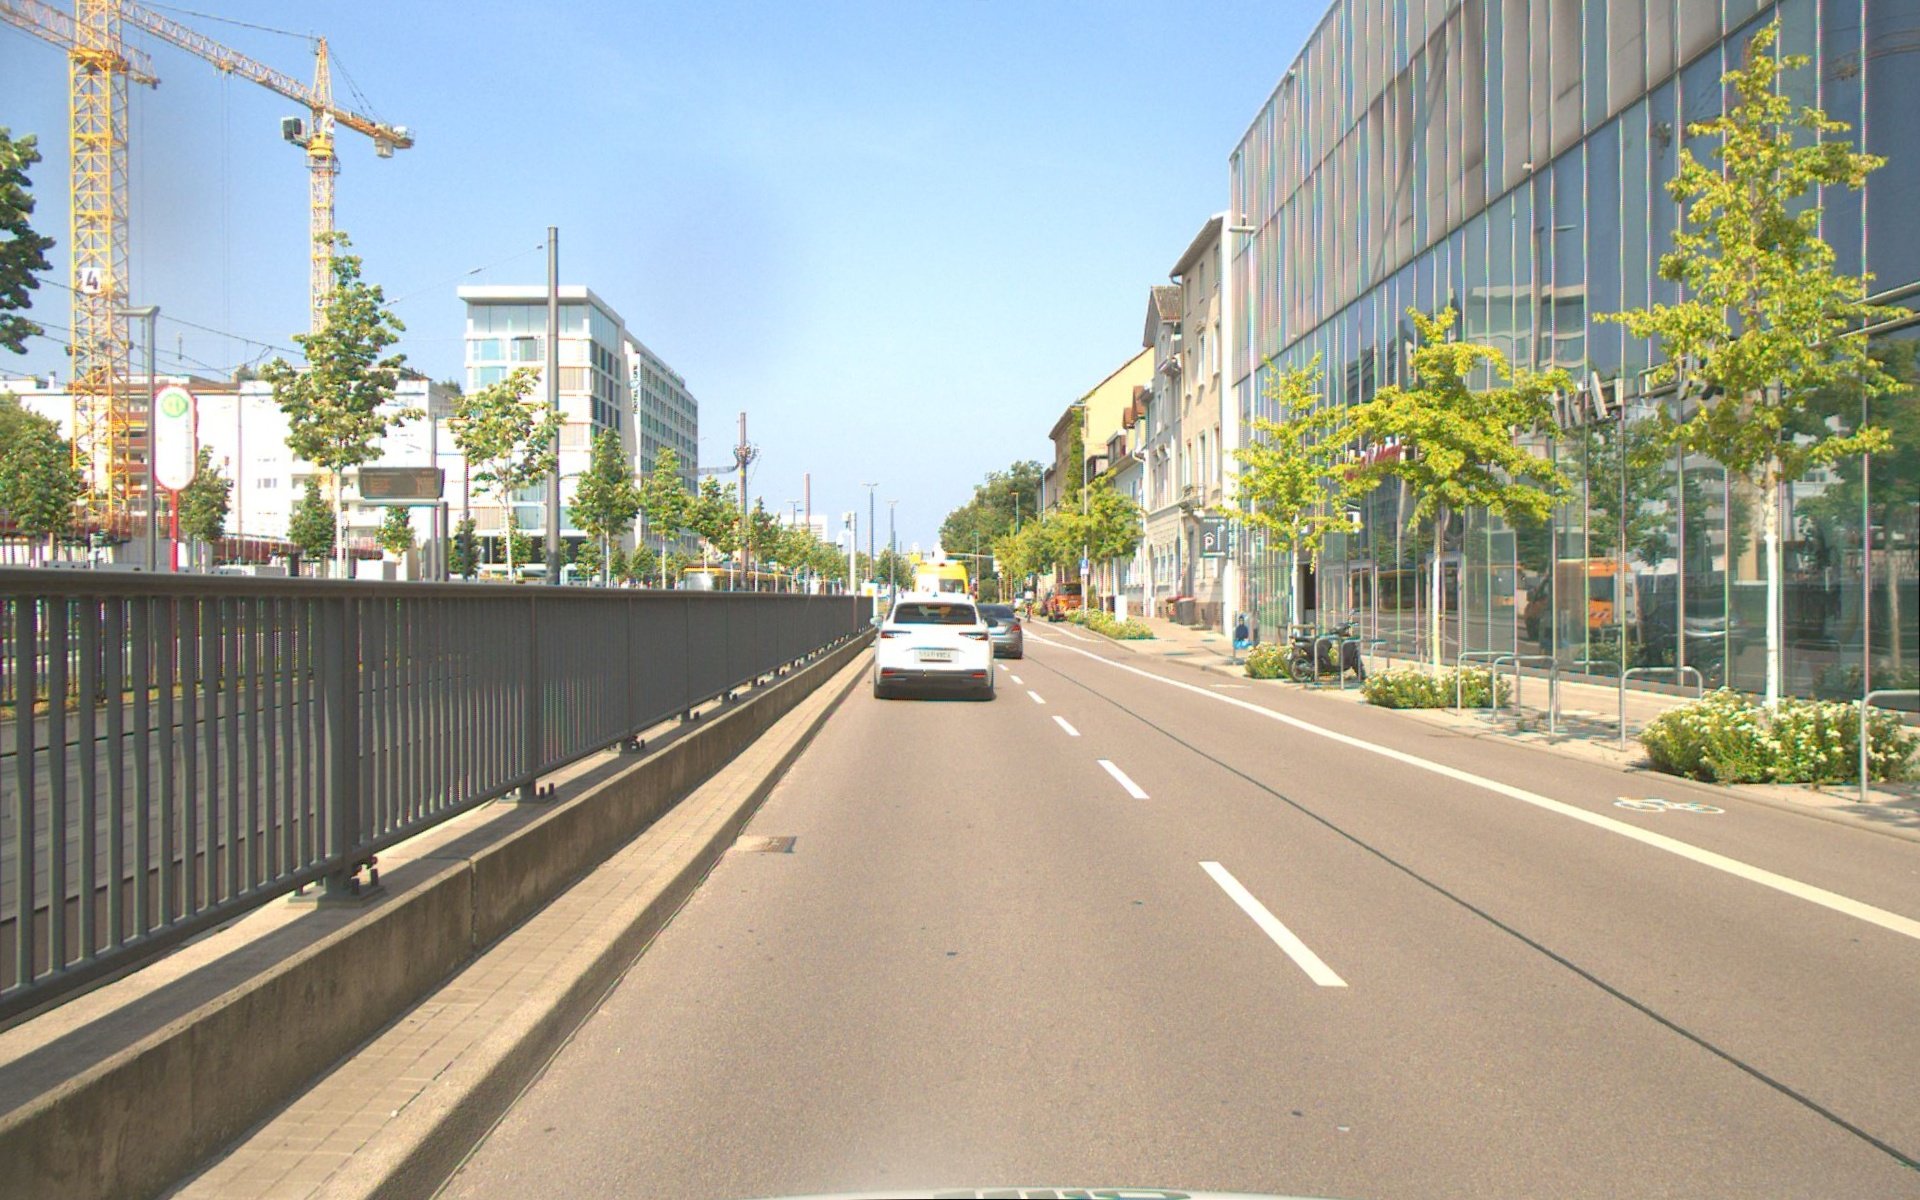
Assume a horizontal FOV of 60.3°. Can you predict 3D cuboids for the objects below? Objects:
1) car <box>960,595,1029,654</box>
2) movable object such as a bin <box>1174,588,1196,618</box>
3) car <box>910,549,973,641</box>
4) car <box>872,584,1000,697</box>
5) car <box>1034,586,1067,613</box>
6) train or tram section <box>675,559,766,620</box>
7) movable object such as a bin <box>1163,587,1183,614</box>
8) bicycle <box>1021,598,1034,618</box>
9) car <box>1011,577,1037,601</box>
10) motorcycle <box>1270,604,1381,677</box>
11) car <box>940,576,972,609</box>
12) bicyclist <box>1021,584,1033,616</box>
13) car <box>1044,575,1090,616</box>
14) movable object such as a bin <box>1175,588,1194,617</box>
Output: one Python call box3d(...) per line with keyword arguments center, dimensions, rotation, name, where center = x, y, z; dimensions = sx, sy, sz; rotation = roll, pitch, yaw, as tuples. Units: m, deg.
box3d(center=(0.886, 0.629, 44.872), dimensions=(1.724, 1.461, 4.115), rotation=(1, 1, -1), name="car")
box3d(center=(9.339, 0.123, 68.582), dimensions=(0.765, 1.192, 0.808), rotation=(0, 2, -2), name="movable object such as a bin")
box3d(center=(-0.611, -0.250, 55.618), dimensions=(1.979, 2.844, 5.401), rotation=(0, 2, -1), name="car")
box3d(center=(-0.356, 0.563, 25.774), dimensions=(1.832, 1.602, 4.000), rotation=(0, 1, -1), name="car")
box3d(center=(5.439, -0.050, 99.705), dimensions=(1.639, 1.509, 4.311), rotation=(-2, 0, -1), name="car")
box3d(center=(-16.042, -0.671, 112.539), dimensions=(2.845, 3.740, 18.142), rotation=(1, 0, 2), name="train or tram section")
box3d(center=(9.277, 0.020, 72.002), dimensions=(0.666, 1.172, 0.607), rotation=(-2, 3, -45), name="movable object such as a bin")
box3d(center=(3.387, 0.397, 83.526), dimensions=(0.642, 0.955, 1.517), rotation=(0, 1, 1), name="bicycle")
box3d(center=(5.005, -0.867, 129.922), dimensions=(1.776, 1.844, 3.835), rotation=(0, 1, -1), name="car")
box3d(center=(7.124, 0.777, 32.269), dimensions=(1.934, 1.373, 0.865), rotation=(-1, 0, -12), name="motorcycle")
box3d(center=(-0.285, -0.478, 107.829), dimensions=(1.953, 2.049, 3.999), rotation=(1, 0, -1), name="car")
box3d(center=(3.391, 0.006, 83.567), dimensions=(0.626, 1.604, 0.771), rotation=(0, 0, 1), name="bicyclist")
box3d(center=(5.557, -0.279, 86.438), dimensions=(2.021, 2.048, 4.587), rotation=(0, 1, -1), name="car")
box3d(center=(9.422, 0.090, 69.554), dimensions=(0.690, 1.172, 0.671), rotation=(0, 2, -2), name="movable object such as a bin")
